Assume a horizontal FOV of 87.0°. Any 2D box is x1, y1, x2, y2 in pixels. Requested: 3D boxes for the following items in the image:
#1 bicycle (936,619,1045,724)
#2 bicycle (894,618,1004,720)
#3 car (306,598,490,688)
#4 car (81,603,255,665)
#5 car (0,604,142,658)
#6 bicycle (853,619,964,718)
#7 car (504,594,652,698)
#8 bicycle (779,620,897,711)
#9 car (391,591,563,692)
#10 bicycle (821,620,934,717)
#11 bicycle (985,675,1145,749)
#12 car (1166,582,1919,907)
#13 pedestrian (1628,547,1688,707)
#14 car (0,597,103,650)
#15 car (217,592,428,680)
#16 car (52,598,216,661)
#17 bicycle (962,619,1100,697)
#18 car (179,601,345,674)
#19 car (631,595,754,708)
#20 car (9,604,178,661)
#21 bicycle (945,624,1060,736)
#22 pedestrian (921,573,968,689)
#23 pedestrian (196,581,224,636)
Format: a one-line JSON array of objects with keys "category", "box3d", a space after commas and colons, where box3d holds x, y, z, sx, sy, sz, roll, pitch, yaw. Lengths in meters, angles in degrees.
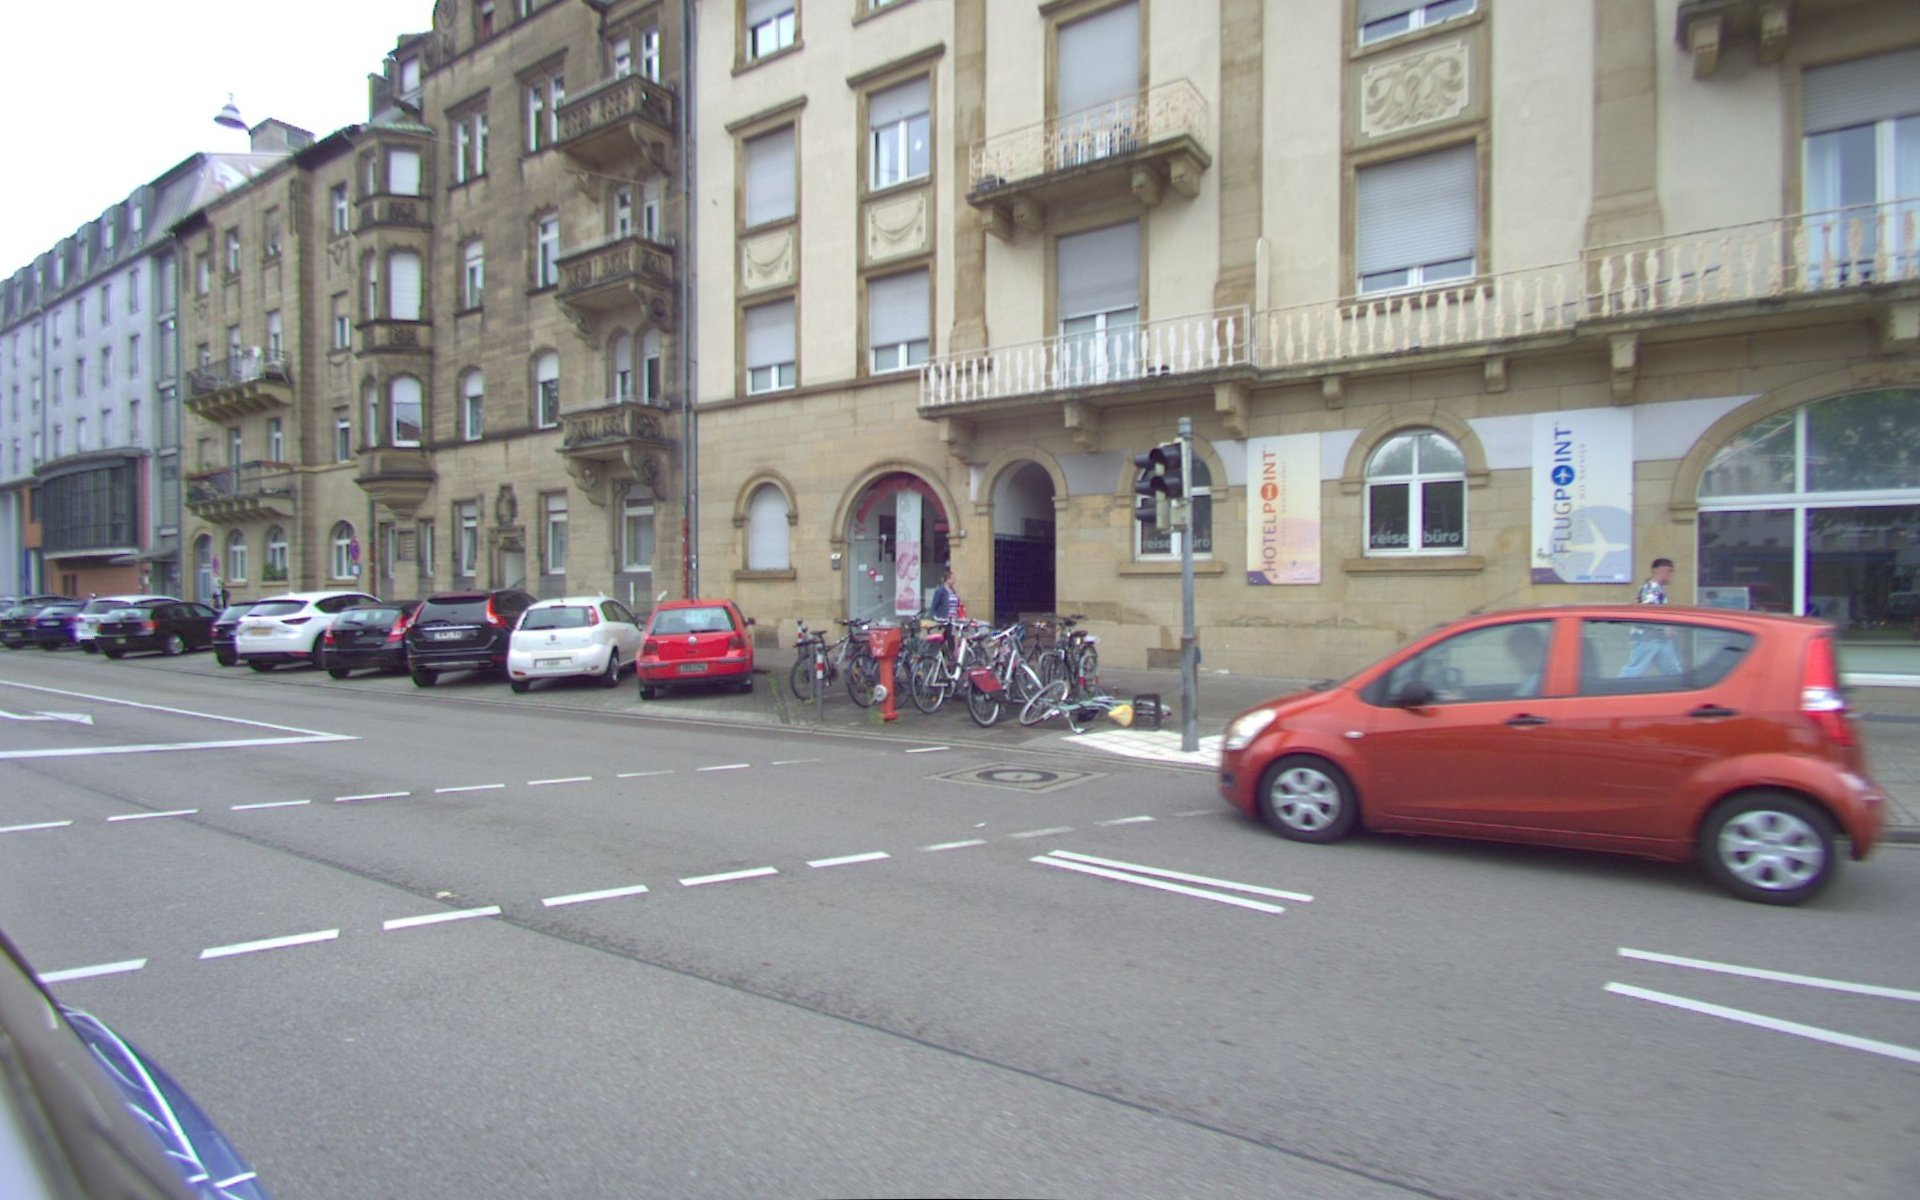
[{"category": "bicycle", "box3d": [0.429, 0.875, 12.946, 0.441, 1.043, 1.872, -1, 5, 33]}, {"category": "bicycle", "box3d": [-0.108, 0.858, 13.285, 0.441, 1.043, 1.872, -1, 5, 33]}, {"category": "car", "box3d": [-11.571, 0.813, 21.183, 1.706, 1.505, 4.003, -2, 2, -2]}, {"category": "car", "box3d": [-21.399, 0.861, 27.580, 1.638, 1.428, 4.001, 0, 2, -1]}, {"category": "car", "box3d": [-28.850, 0.945, 32.550, 1.710, 1.449, 3.997, -1, 2, 3]}, {"category": "bicycle", "box3d": [-0.656, 0.880, 13.654, 0.441, 1.043, 1.872, -1, 5, 33]}, {"category": "car", "box3d": [-6.619, 0.703, 17.938, 1.540, 1.483, 4.007, -1, 2, -7]}, {"category": "bicycle", "box3d": [-1.711, 0.897, 14.500, 0.442, 1.043, 1.869, 0, 4, 38]}, {"category": "car", "box3d": [-8.975, 0.682, 19.204, 1.704, 1.664, 4.233, 0, 1, -7]}, {"category": "bicycle", "box3d": [-1.099, 0.898, 13.954, 0.441, 1.043, 1.872, -1, 5, 33]}, {"category": "bicycle", "box3d": [1.211, 1.212, 11.300, 1.026, 0.448, 1.872, -2, 4, 33]}, {"category": "car", "box3d": [3.512, 0.690, 6.442, 3.987, 1.536, 1.719, 0, 0, 32]}, {"category": "pedestrian", "box3d": [8.086, 0.304, 11.725, 0.549, 1.799, 0.561, 0, 0, 36]}, {"category": "car", "box3d": [-31.415, 0.766, 34.189, 1.707, 1.565, 4.005, -2, 2, -4]}, {"category": "car", "box3d": [-14.243, 0.728, 22.913, 1.821, 1.736, 3.987, 0, 1, 10]}, {"category": "car", "box3d": [-24.182, 0.795, 29.826, 1.678, 1.565, 4.003, -2, 2, -3]}, {"category": "bicycle", "box3d": [0.986, 0.791, 14.342, 1.993, 1.035, 0.497, 0, 0, 36]}, {"category": "car", "box3d": [-16.784, 0.849, 24.567, 1.546, 1.508, 3.816, 0, 2, -4]}, {"category": "car", "box3d": [-4.264, 0.713, 16.365, 1.656, 1.483, 4.011, -2, 2, -13]}, {"category": "car", "box3d": [-26.505, 0.953, 31.122, 1.801, 1.456, 3.744, -1, 2, 5]}, {"category": "bicycle", "box3d": [0.553, 0.913, 12.171, 0.441, 1.043, 1.872, -1, 5, 33]}, {"category": "pedestrian", "box3d": [-0.272, 0.527, 17.520, 0.549, 1.973, 0.613, 0, 0, 36]}, {"category": "pedestrian", "box3d": [-25.470, 0.288, 34.366, 0.640, 1.837, 0.615, 0, 0, 35]}]
